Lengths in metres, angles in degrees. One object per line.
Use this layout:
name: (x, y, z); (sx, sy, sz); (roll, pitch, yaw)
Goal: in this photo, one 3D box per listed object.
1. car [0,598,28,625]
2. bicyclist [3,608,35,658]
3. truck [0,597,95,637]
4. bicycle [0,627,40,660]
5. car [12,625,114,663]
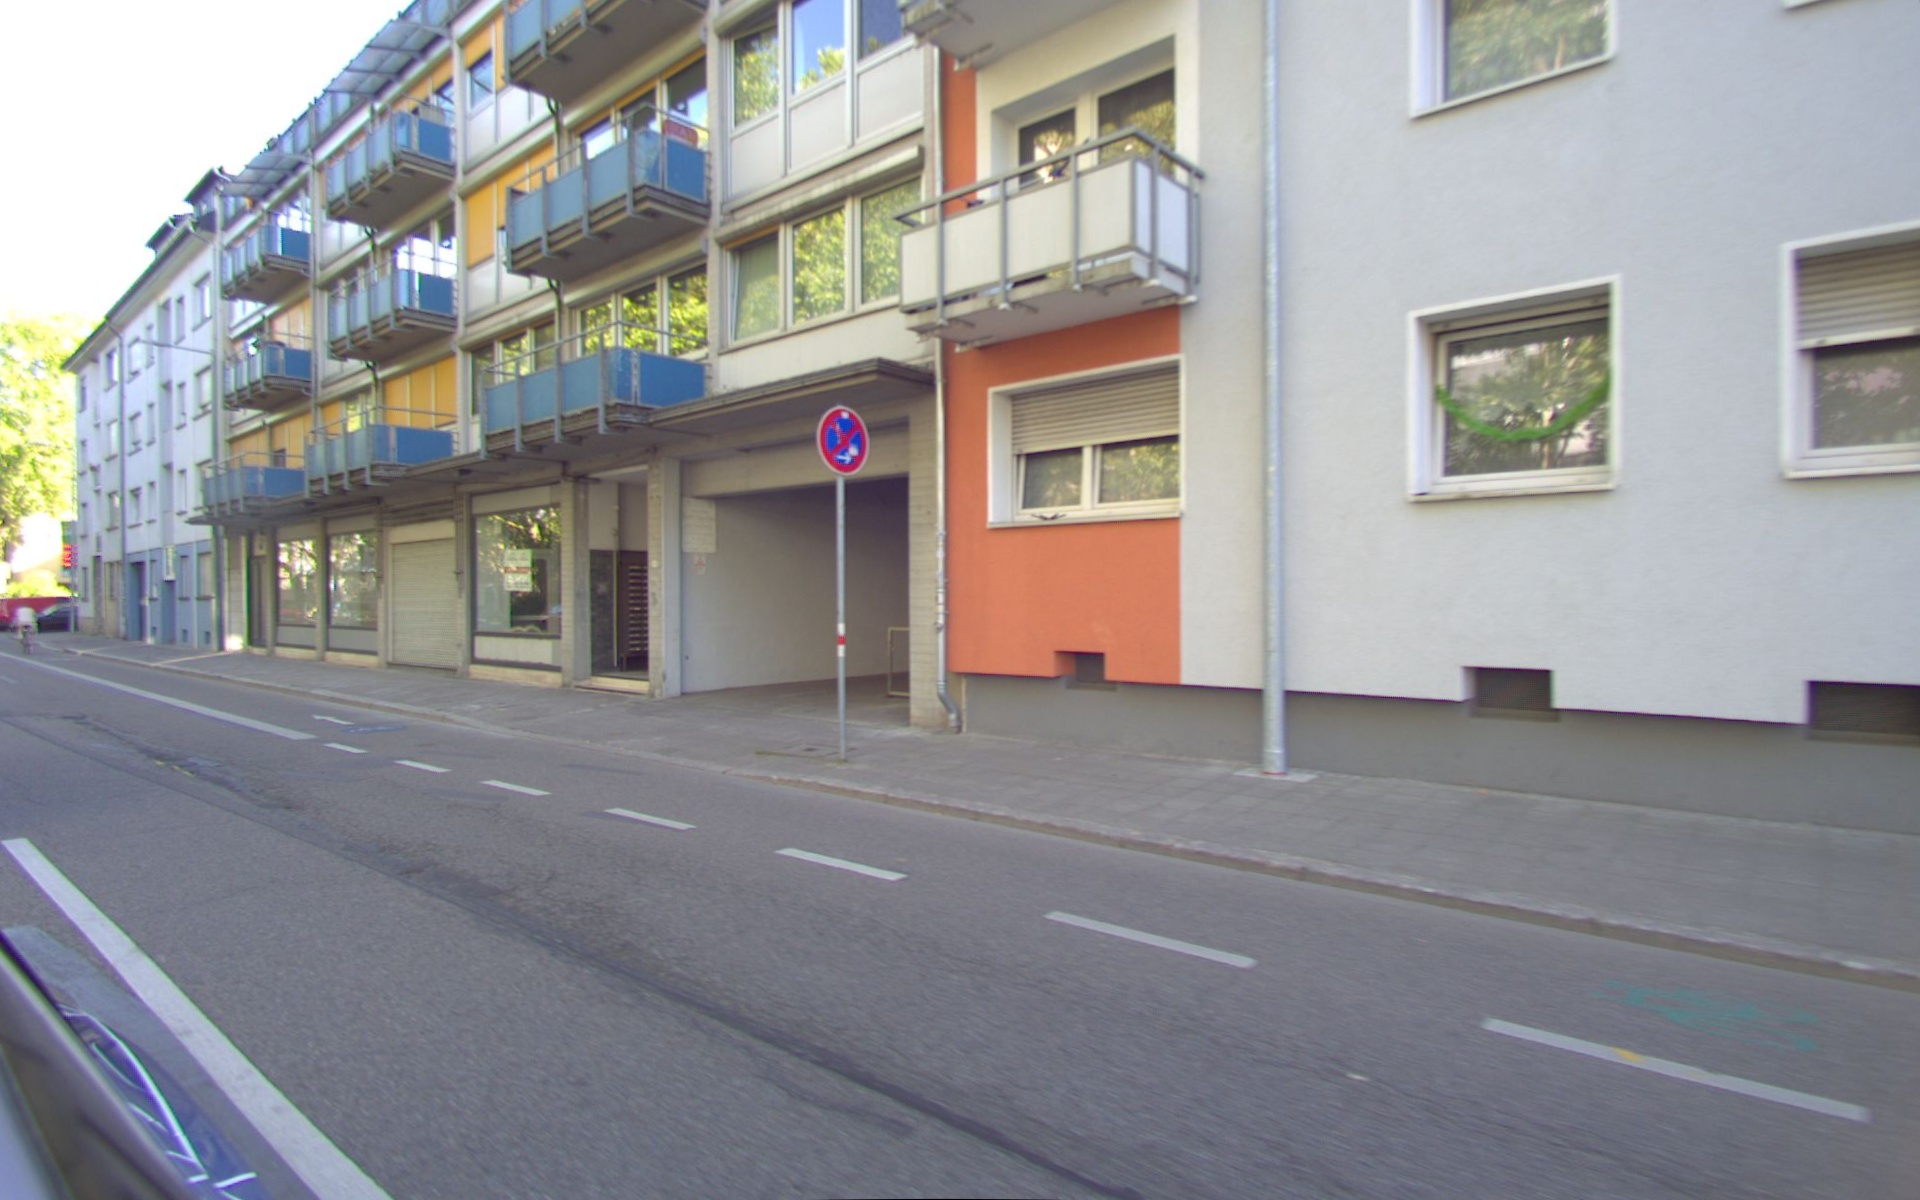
car: (-71.978, 0.858, 75.068); (1.998, 2.029, 3.948); (0, 0, 39)
bicyclist: (-31.391, 1.098, 33.764); (0.758, 1.643, 0.683); (0, -1, 40)
truck: (-53.012, 0.933, 58.453); (1.876, 2.174, 4.349); (0, 0, 39)
bicycle: (-31.358, 1.428, 33.733); (2.630, 0.994, 0.683); (0, -1, 40)
car: (-48.858, 2.352, 55.173); (1.829, 1.849, 3.947); (0, 0, 39)
